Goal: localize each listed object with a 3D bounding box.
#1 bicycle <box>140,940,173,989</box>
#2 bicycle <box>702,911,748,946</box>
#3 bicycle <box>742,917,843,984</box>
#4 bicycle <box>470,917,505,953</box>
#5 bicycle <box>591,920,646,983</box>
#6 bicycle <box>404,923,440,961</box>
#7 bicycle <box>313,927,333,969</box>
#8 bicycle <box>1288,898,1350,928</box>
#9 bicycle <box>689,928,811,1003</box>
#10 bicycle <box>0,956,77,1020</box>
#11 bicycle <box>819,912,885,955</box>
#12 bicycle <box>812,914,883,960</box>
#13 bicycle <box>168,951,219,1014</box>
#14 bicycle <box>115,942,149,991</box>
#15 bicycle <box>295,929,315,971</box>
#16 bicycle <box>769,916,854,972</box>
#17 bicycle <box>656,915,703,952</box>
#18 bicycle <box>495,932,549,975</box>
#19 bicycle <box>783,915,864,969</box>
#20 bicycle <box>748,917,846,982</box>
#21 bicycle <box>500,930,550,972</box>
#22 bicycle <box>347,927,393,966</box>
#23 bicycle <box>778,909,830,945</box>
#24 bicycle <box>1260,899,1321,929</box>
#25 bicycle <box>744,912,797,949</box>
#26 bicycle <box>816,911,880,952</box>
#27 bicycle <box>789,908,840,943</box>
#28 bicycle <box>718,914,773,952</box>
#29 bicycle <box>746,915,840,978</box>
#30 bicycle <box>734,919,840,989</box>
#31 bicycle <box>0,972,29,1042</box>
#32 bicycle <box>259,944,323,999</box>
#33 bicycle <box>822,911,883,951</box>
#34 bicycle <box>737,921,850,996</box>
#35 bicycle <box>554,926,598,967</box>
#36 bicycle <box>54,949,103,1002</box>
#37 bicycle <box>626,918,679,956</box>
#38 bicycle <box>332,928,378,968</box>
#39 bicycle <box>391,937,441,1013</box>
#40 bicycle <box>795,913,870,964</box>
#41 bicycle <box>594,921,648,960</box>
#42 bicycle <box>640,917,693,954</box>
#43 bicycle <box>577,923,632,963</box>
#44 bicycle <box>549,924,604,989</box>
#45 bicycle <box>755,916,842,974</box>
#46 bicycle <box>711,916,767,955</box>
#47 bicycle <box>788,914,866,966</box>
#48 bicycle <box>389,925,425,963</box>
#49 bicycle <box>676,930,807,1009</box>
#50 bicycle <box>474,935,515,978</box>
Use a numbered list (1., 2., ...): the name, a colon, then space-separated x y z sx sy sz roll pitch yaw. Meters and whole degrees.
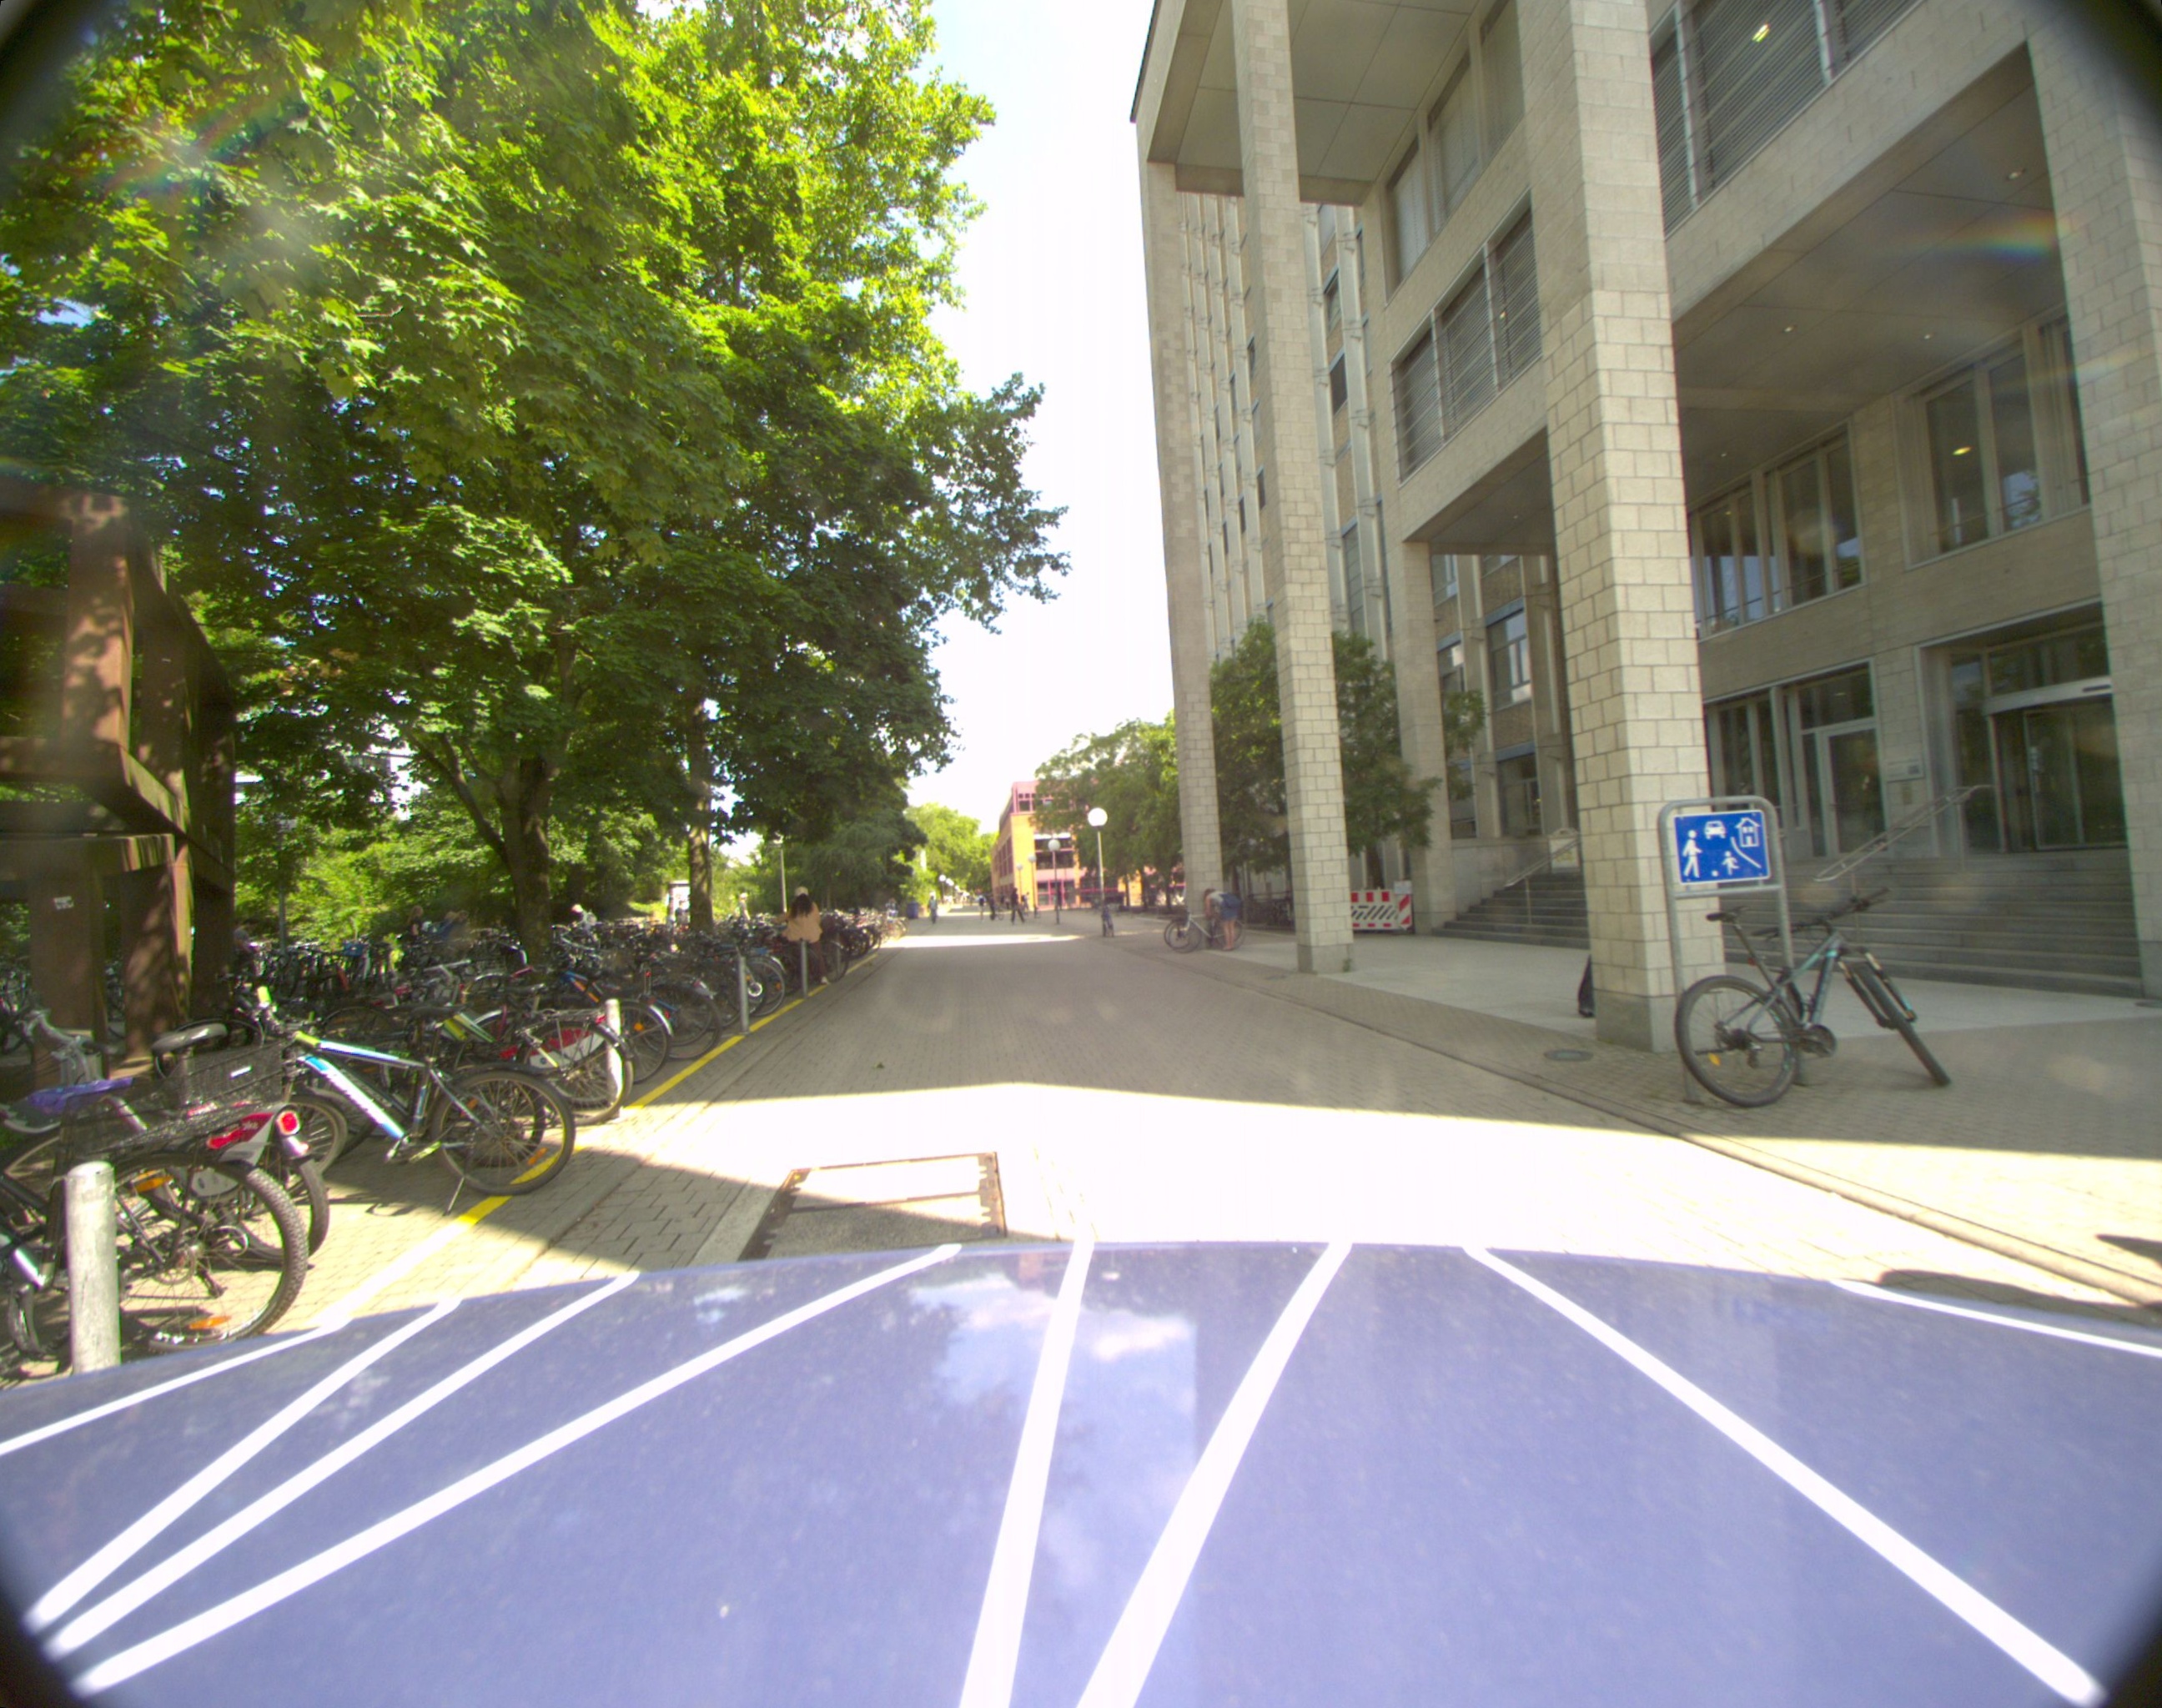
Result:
1. bicycle: -23.073 2.735 18.973 1.607 1.087 0.349 -4 -1 44
2. bicycle: -11.687 2.462 24.945 1.684 1.076 0.480 -5 -5 30
3. bicycle: -5.324 1.776 14.095 1.689 1.122 0.454 -2 -4 -14
4. bicycle: -19.178 2.619 24.539 1.607 1.087 0.349 -4 -1 33
5. bicycle: -9.257 1.917 15.178 1.840 1.163 0.414 -4 -2 43
6. bicycle: -19.994 2.667 23.041 1.607 1.087 0.349 -4 -1 33
7. bicycle: -21.542 2.656 21.587 1.607 1.087 0.349 -4 -1 44
8. bicycle: 6.801 1.673 21.814 0.644 0.755 1.987 -2 -1 -18
9. bicycle: -5.192 1.739 11.993 1.689 1.040 0.501 -2 -4 -14
10. bicycle: -19.381 2.458 14.125 0.379 0.973 1.899 -3 -1 -39
11. bicycle: -6.348 2.203 21.068 1.690 1.076 0.478 -1 -4 -22
12. bicycle: -6.017 2.143 19.628 1.689 1.076 0.478 -2 -4 -14
13. bicycle: -16.380 2.348 14.046 1.899 0.973 0.479 -4 -1 44
14. bicycle: -23.357 2.747 18.711 1.607 1.087 0.349 -4 -1 44
15. bicycle: -21.788 2.669 21.330 1.607 1.087 0.349 -4 -1 44
16. bicycle: -5.944 1.983 16.812 1.689 1.122 0.454 -2 -4 -14
17. bicycle: -12.671 2.511 23.944 1.684 1.076 0.480 -5 -5 30
18. bicycle: -14.873 2.642 20.223 1.469 1.076 0.353 -4 -4 17
19. bicycle: -5.861 1.992 17.369 1.689 1.122 0.478 -2 -4 -14
20. bicycle: -5.459 1.828 14.664 1.689 1.122 0.454 -2 -4 -14
21. bicycle: -15.183 2.649 20.732 1.469 1.076 0.353 -4 -4 21
22. bicycle: -20.754 2.706 22.176 1.607 1.087 0.348 -4 0 25
23. bicycle: -8.908 2.361 24.423 1.685 1.076 0.480 -5 -4 23
24. bicycle: 5.976 1.705 21.793 0.644 0.755 1.987 -2 -1 -18
25. bicycle: -9.788 2.400 23.940 1.685 1.076 0.480 -5 -4 23
26. bicycle: -6.681 2.220 21.836 1.689 1.076 0.478 -2 -4 -14
27. bicycle: -8.726 2.349 24.865 1.685 1.076 0.480 -5 -4 23
28. bicycle: -10.261 2.426 23.234 1.685 1.076 0.480 -5 -4 23
29. bicycle: -5.730 1.833 15.197 1.689 1.122 0.454 -2 -4 -14
30. bicycle: -5.179 1.754 13.461 1.689 1.122 0.454 -2 -4 -14
31. bicycle: -17.739 2.504 12.412 1.738 1.017 0.479 -4 -1 41
32. bicycle: -15.666 2.305 15.055 1.899 0.973 0.479 -4 -1 32
33. bicycle: -6.833 2.307 22.780 1.689 1.076 0.478 -2 -4 -14
34. bicycle: -4.766 1.722 12.675 1.689 1.122 0.454 -2 -4 -14
35. bicycle: -14.222 2.604 21.379 1.684 1.076 0.480 -6 -5 36
36. bicycle: -23.799 2.858 18.048 1.607 1.087 0.479 -4 -1 44
37. bicycle: -13.013 2.531 23.044 1.684 1.076 0.480 -5 -4 24
38. bicycle: -20.893 2.715 21.852 1.607 1.087 0.348 -4 0 25
39. bicycle: -11.430 2.031 13.040 1.840 1.163 0.414 -4 -2 43
40. bicycle: -6.048 2.046 18.557 1.689 1.122 0.478 -2 -4 -14
41. bicycle: -13.573 2.560 22.407 1.684 1.076 0.480 -5 -4 24
42. bicycle: -12.818 2.519 23.490 1.684 1.076 0.480 -5 -4 24
43. bicycle: -13.769 2.572 21.962 1.684 1.076 0.480 -5 -4 24
44. bicycle: -9.739 1.943 14.642 1.840 1.163 0.414 -4 -2 43
45. bicycle: -6.027 1.938 16.277 1.689 1.122 0.454 -2 -4 -14
46. bicycle: -10.224 2.431 22.689 1.685 1.076 0.480 -5 -4 23
47. bicycle: -5.976 2.012 17.944 1.689 1.122 0.478 -2 -4 -14
48. bicycle: -20.180 2.678 22.747 1.607 1.087 0.349 -4 -1 33
49. bicycle: -5.067 1.706 11.426 1.689 1.040 0.617 -2 -4 -14
50. bicycle: -15.229 2.662 19.715 1.468 1.076 0.353 -6 -5 32
